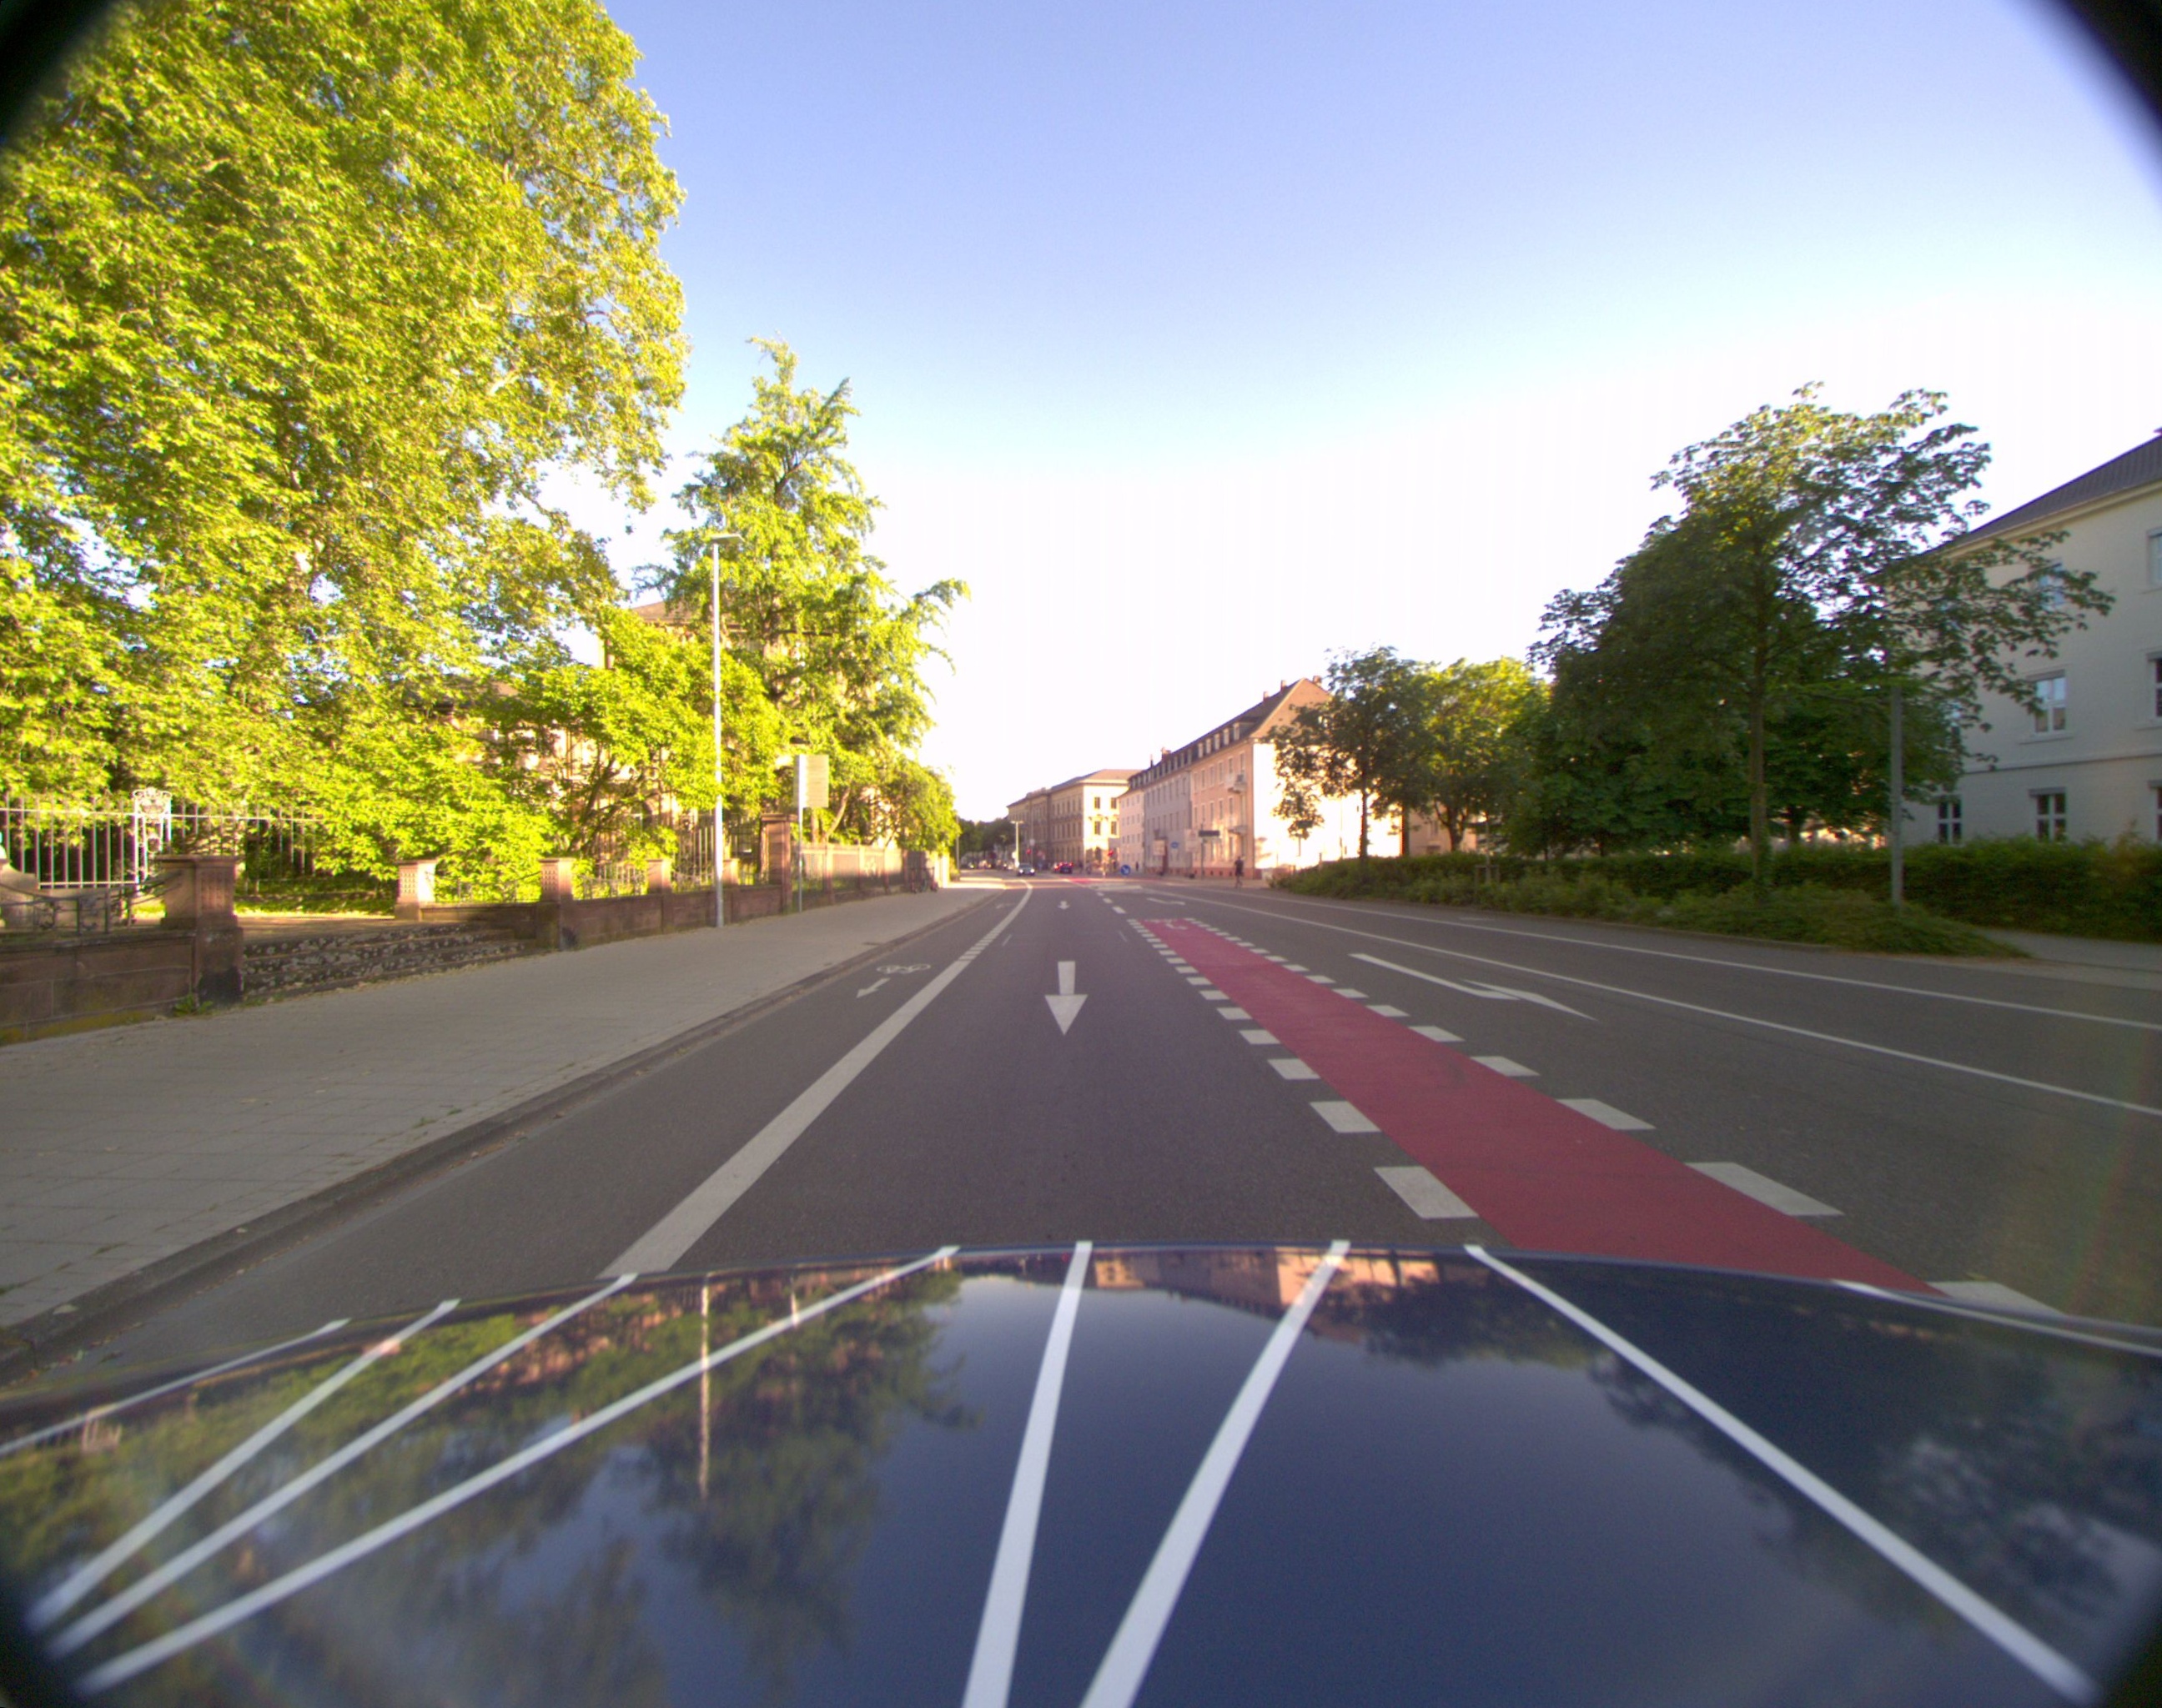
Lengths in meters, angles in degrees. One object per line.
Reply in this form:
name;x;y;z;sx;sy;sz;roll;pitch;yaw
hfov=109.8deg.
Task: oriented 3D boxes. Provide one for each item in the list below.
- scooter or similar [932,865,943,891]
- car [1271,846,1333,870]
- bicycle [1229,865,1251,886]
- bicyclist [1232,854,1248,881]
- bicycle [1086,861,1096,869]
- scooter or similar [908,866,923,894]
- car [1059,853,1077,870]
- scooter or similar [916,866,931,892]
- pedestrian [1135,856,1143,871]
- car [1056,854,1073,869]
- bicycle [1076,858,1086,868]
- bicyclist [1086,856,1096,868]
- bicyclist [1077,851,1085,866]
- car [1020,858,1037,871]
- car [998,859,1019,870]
scooter or similar;-7.084;1.180;37.486;0.517;1.233;1.521;0;0;-11
car;16.637;0.269;57.361;4.000;1.652;1.998;-2;1;-9
bicycle;9.260;1.233;44.224;0.697;1.152;2.245;1;0;-3
bicyclist;9.267;0.766;44.214;0.691;1.553;0.838;1;0;-3
bicycle;1.193;1.369;92.491;0.663;0.907;2.861;0;0;-9
scooter or similar;-7.544;1.173;34.552;0.576;1.246;1.486;0;0;-15
car;-1.623;0.928;95.641;1.999;2.002;3.998;0;0;-5
scooter or similar;-7.558;1.190;36.404;0.576;1.177;1.487;0;0;-7
pedestrian;7.757;1.244;101.710;0.949;1.894;1.062;-2;1;-7
car;-2.252;0.977;101.923;1.999;2.002;3.998;0;0;-5
bicycle;0.009;1.220;103.562;0.956;1.216;2.777;0;0;-9
bicyclist;1.210;0.969;92.408;1.026;1.481;0.870;0;0;-9
bicyclist;0.026;0.570;103.491;0.956;2.002;1.307;0;0;-9
car;-5.819;1.154;84.311;1.710;1.397;4.262;0;0;-6
car;-12.984;1.861;136.263;2.004;2.093;4.505;0;0;-33
